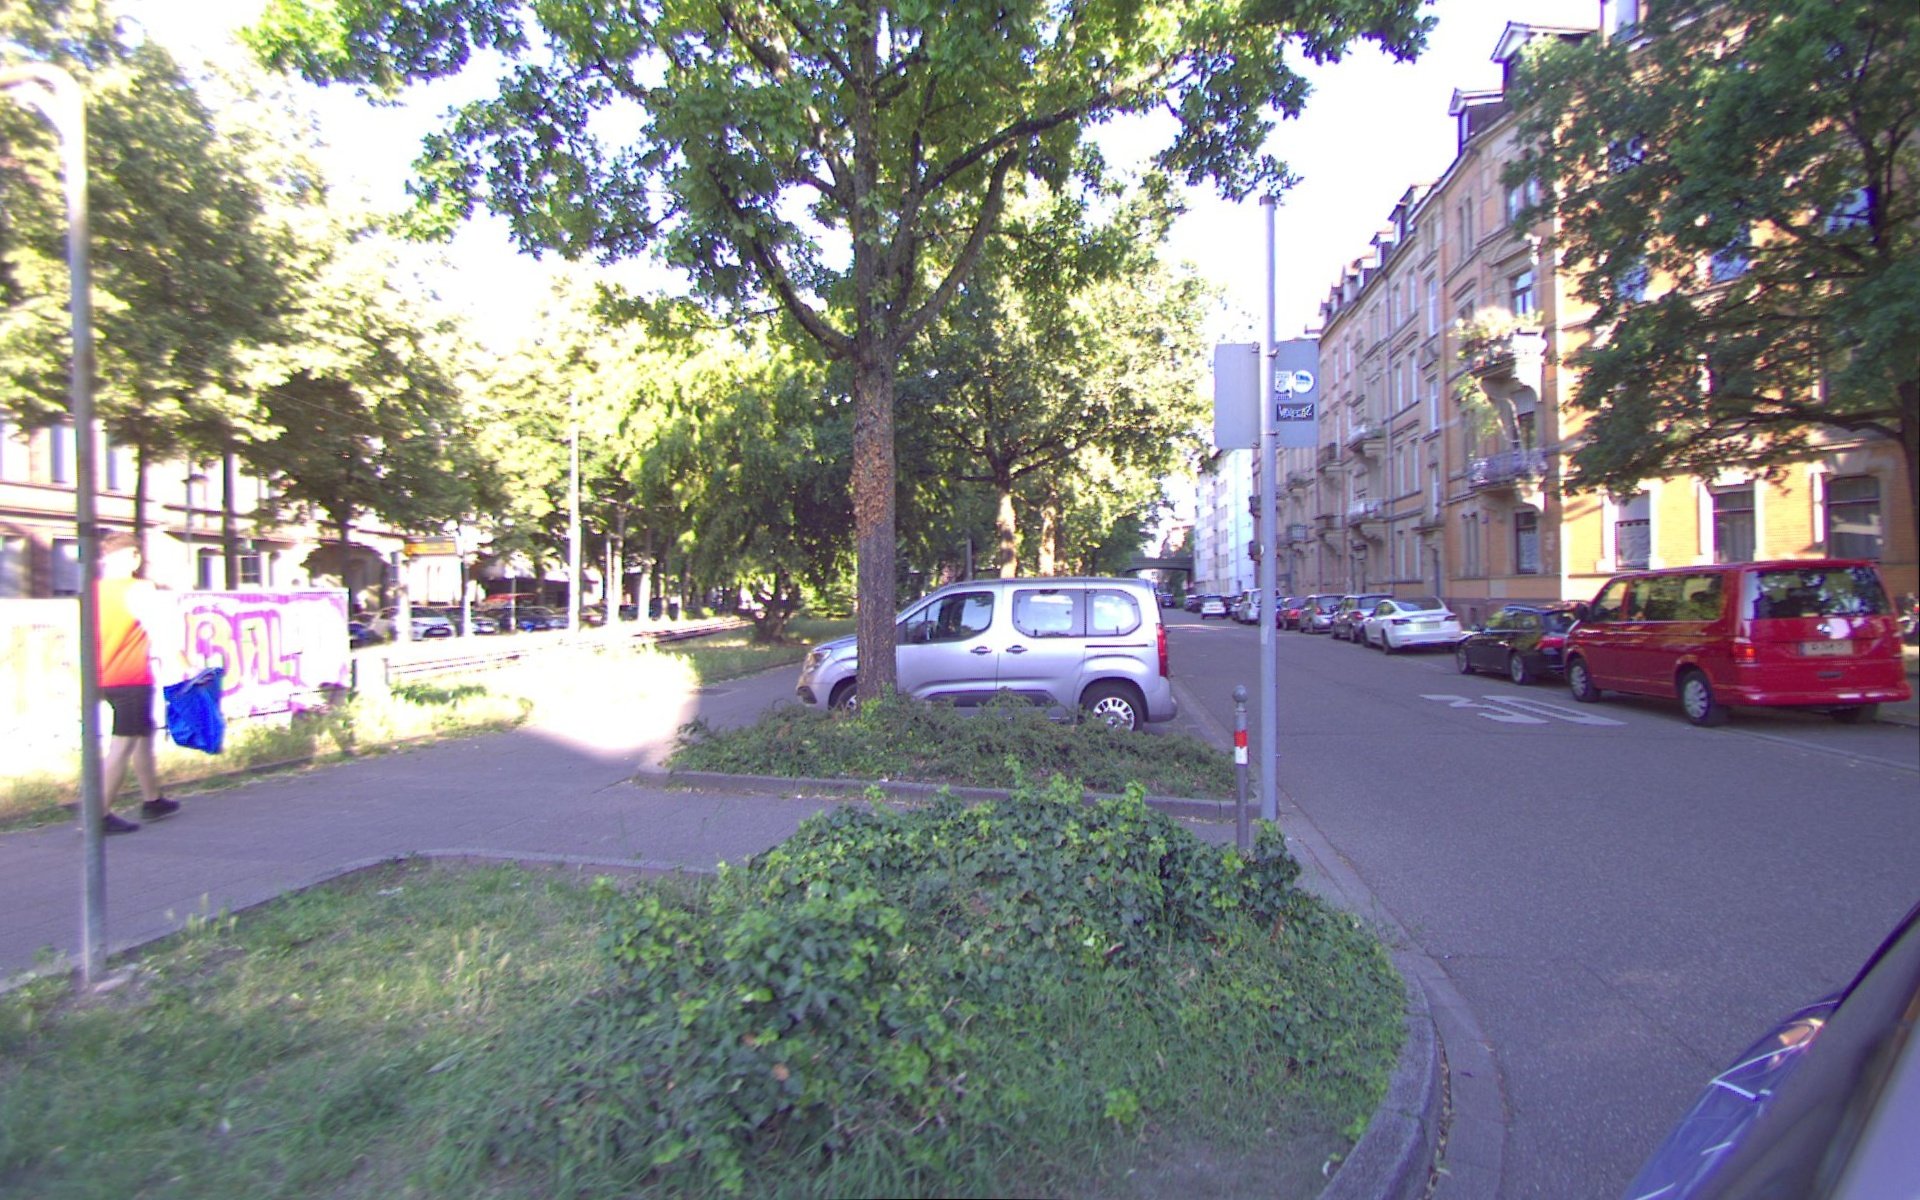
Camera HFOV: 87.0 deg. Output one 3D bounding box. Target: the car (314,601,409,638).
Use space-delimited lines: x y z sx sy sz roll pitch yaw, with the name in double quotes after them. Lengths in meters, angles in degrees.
-27.442 0.842 46.592 1.961 1.587 4.421 0 0 -3 "car"

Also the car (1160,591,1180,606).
23.654 -0.177 113.957 1.851 1.459 4.381 -3 0 9 "car"

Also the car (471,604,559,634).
-20.491 0.832 46.555 3.967 1.295 1.729 0 0 31 "car"

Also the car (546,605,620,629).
-20.811 0.915 55.792 3.967 1.295 1.729 0 0 31 "car"

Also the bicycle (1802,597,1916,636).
20.635 0.383 23.280 0.515 0.859 1.901 -1 -1 -26 "bicycle"

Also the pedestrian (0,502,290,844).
-5.093 0.413 6.401 0.890 1.943 1.147 0 0 10 "pedestrian"

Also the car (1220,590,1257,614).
18.917 0.126 68.827 1.851 1.459 4.381 -3 0 9 "car"

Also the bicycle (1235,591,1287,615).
18.924 0.200 63.673 2.997 1.503 0.815 0 0 11 "bicycle"

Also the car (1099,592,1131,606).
21.676 -0.205 141.168 4.321 1.707 1.877 -3 -1 10 "car"

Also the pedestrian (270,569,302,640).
-28.801 0.204 43.254 0.903 2.985 0.700 -1 0 -3 "pedestrian"

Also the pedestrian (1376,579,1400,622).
17.808 0.018 42.125 0.664 1.740 0.720 -3 -1 10 "pedestrian"

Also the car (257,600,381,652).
-20.026 0.766 31.571 4.252 1.506 1.787 0 0 35 "car"

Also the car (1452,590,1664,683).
10.948 0.603 18.933 1.751 1.452 4.262 -3 0 7 "car"

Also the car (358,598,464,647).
-20.530 0.791 37.792 4.252 1.717 1.787 0 0 35 "car"

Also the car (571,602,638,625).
-21.601 0.804 61.444 3.967 1.295 1.729 0 0 31 "car"

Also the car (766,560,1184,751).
0.252 0.572 11.696 4.483 1.938 1.944 -1 1 12 "car"

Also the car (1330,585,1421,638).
13.158 0.346 32.261 1.660 1.494 3.874 -3 0 7 "car"

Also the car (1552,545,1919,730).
9.950 0.412 13.475 1.752 1.958 4.761 -3 0 8 "car"

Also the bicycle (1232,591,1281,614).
19.385 0.172 66.234 2.997 1.503 0.815 0 0 11 "bicycle"

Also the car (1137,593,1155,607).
20.983 -0.033 114.233 1.852 1.449 4.378 -3 0 11 "car"

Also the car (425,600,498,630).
-27.981 0.801 56.959 1.961 1.587 4.614 0 0 -2 "car"

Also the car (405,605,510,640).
-20.091 0.869 40.410 4.248 1.295 1.789 0 0 32 "car"

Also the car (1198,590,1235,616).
16.744 0.187 66.184 1.851 1.555 4.381 -3 0 9 "car"

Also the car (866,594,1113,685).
0.622 0.739 19.507 4.483 1.592 1.944 -1 1 12 "car"

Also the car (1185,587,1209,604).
22.902 -0.418 97.930 1.851 1.459 4.381 -3 0 9 "car"

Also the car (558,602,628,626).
-21.360 0.801 58.864 3.967 1.295 1.729 0 0 31 "car"

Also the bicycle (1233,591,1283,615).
19.178 0.184 65.248 2.997 1.503 0.815 0 0 11 "bicycle"

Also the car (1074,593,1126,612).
11.495 0.170 82.904 4.197 1.507 1.679 0 0 10 "car"

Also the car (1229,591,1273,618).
17.134 0.257 59.749 1.851 1.459 4.381 -3 0 9 "car"

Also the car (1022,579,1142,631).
5.040 0.201 41.633 4.782 2.064 2.149 0 0 10 "car"

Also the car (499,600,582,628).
-20.472 0.661 49.371 3.967 1.295 1.729 0 0 31 "car"

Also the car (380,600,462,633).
-27.677 0.805 52.144 1.961 1.587 4.614 0 0 -2 "car"

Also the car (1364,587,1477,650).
12.318 0.447 27.363 1.754 1.494 4.256 -3 0 11 "car"

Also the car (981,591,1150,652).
3.081 0.599 29.051 4.642 1.592 1.993 -1 1 12 "car"

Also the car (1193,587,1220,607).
21.433 -0.284 88.089 1.851 1.588 4.381 -3 0 9 "car"

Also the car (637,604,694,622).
-21.371 0.929 73.383 3.967 1.295 1.729 0 0 31 "car"

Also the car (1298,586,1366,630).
14.019 0.294 38.338 1.662 1.494 3.698 -3 0 10 "car"

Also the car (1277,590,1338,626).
14.871 0.313 43.507 1.740 1.401 4.277 -3 0 10 "car"

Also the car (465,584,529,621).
-28.157 0.130 61.720 1.961 2.200 4.614 0 0 -2 "car"

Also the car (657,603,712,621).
-20.498 0.875 75.295 3.967 1.295 1.729 0 0 31 "car"

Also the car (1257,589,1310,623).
15.473 0.275 48.523 1.740 1.456 3.878 -3 0 9 "car"

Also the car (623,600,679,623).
-24.404 0.920 80.001 3.945 1.789 1.739 0 0 17 "car"

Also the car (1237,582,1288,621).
16.130 0.073 54.112 1.882 1.906 4.713 -3 0 9 "car"

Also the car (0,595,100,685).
-20.231 0.787 21.807 4.532 1.743 1.901 0 0 41 "car"

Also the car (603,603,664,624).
-21.764 0.873 67.387 3.967 1.295 1.729 0 0 31 "car"
